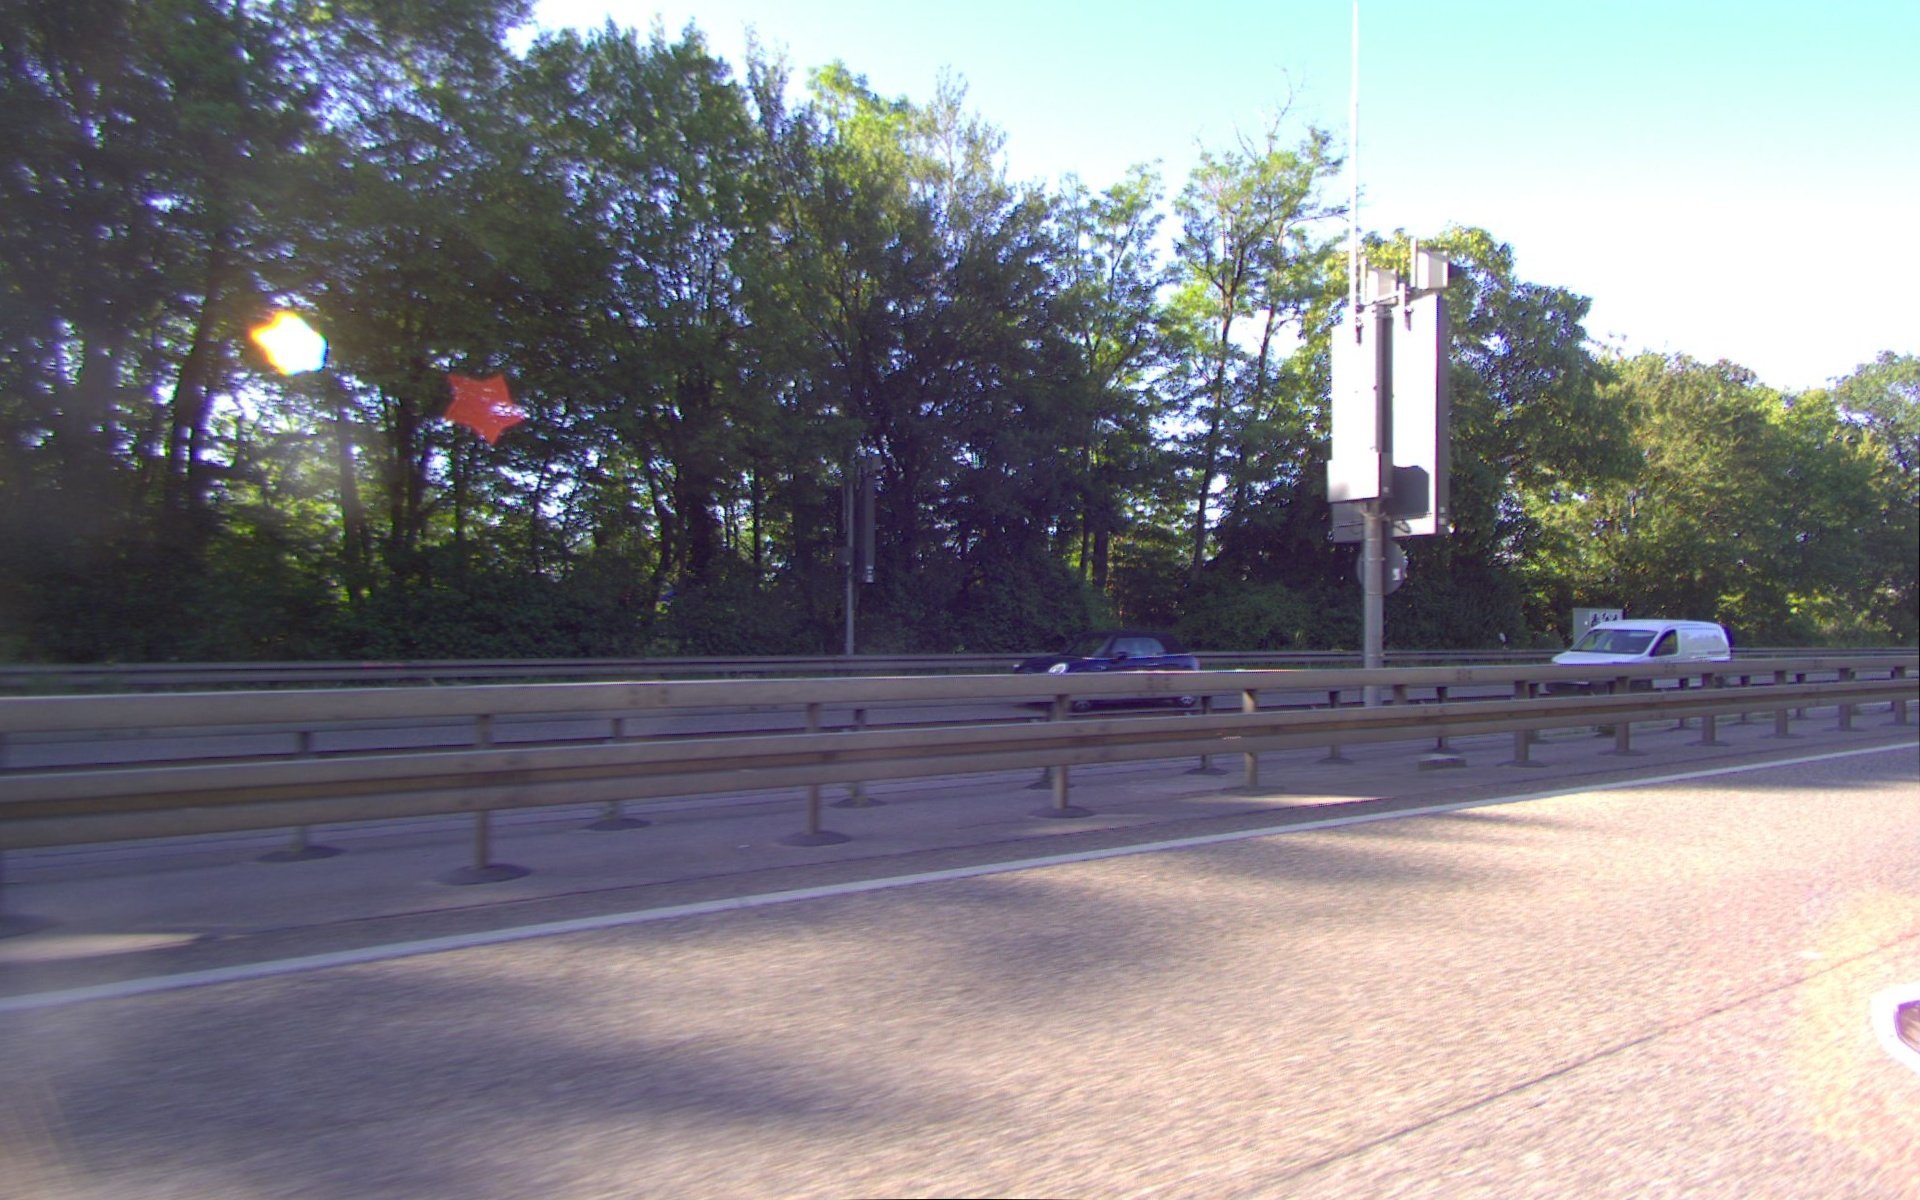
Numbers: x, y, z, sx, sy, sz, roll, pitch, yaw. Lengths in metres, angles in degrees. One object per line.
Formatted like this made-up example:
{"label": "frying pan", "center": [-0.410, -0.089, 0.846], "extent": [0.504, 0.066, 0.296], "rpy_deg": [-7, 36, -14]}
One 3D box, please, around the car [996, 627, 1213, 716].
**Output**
{"label": "car", "center": [2.731, 1.260, 18.773], "extent": [3.863, 1.500, 1.590], "rpy_deg": [1, -1, -30]}

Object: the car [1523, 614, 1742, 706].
{"label": "car", "center": [14.829, 1.269, 22.096], "extent": [4.968, 1.812, 1.985], "rpy_deg": [1, -3, -30]}
